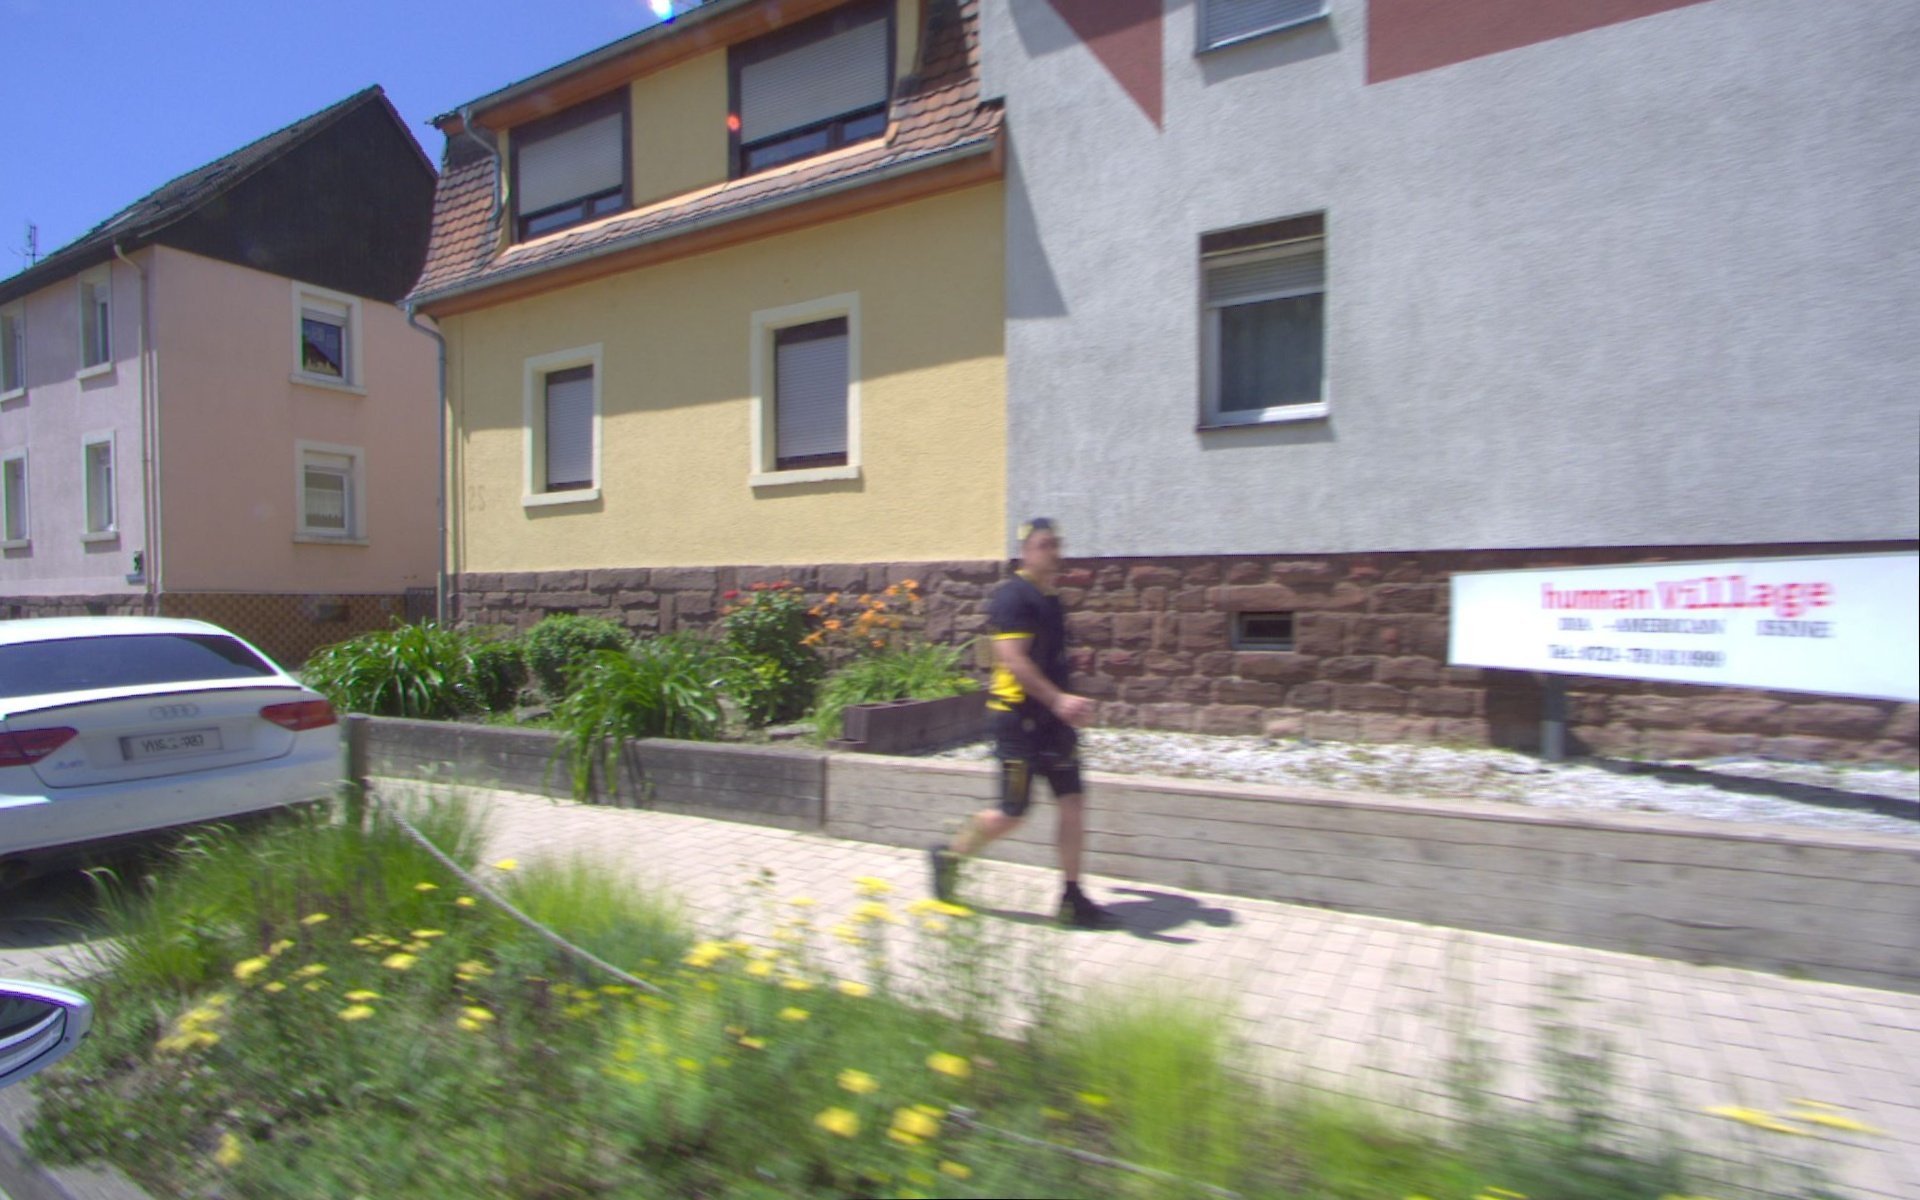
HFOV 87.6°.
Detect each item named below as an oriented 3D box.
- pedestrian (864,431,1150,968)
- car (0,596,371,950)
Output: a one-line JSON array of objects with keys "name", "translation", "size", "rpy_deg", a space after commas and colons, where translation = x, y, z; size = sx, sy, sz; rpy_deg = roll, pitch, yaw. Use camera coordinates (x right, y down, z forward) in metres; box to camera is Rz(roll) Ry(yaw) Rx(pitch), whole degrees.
[{"name": "pedestrian", "translation": [0.210, 0.397, 4.399], "size": [1.018, 2.039, 0.745], "rpy_deg": [-1, -2, 32]}, {"name": "car", "translation": [-5.477, 0.793, 6.019], "size": [4.576, 1.437, 1.749], "rpy_deg": [-2, 1, 38]}]
